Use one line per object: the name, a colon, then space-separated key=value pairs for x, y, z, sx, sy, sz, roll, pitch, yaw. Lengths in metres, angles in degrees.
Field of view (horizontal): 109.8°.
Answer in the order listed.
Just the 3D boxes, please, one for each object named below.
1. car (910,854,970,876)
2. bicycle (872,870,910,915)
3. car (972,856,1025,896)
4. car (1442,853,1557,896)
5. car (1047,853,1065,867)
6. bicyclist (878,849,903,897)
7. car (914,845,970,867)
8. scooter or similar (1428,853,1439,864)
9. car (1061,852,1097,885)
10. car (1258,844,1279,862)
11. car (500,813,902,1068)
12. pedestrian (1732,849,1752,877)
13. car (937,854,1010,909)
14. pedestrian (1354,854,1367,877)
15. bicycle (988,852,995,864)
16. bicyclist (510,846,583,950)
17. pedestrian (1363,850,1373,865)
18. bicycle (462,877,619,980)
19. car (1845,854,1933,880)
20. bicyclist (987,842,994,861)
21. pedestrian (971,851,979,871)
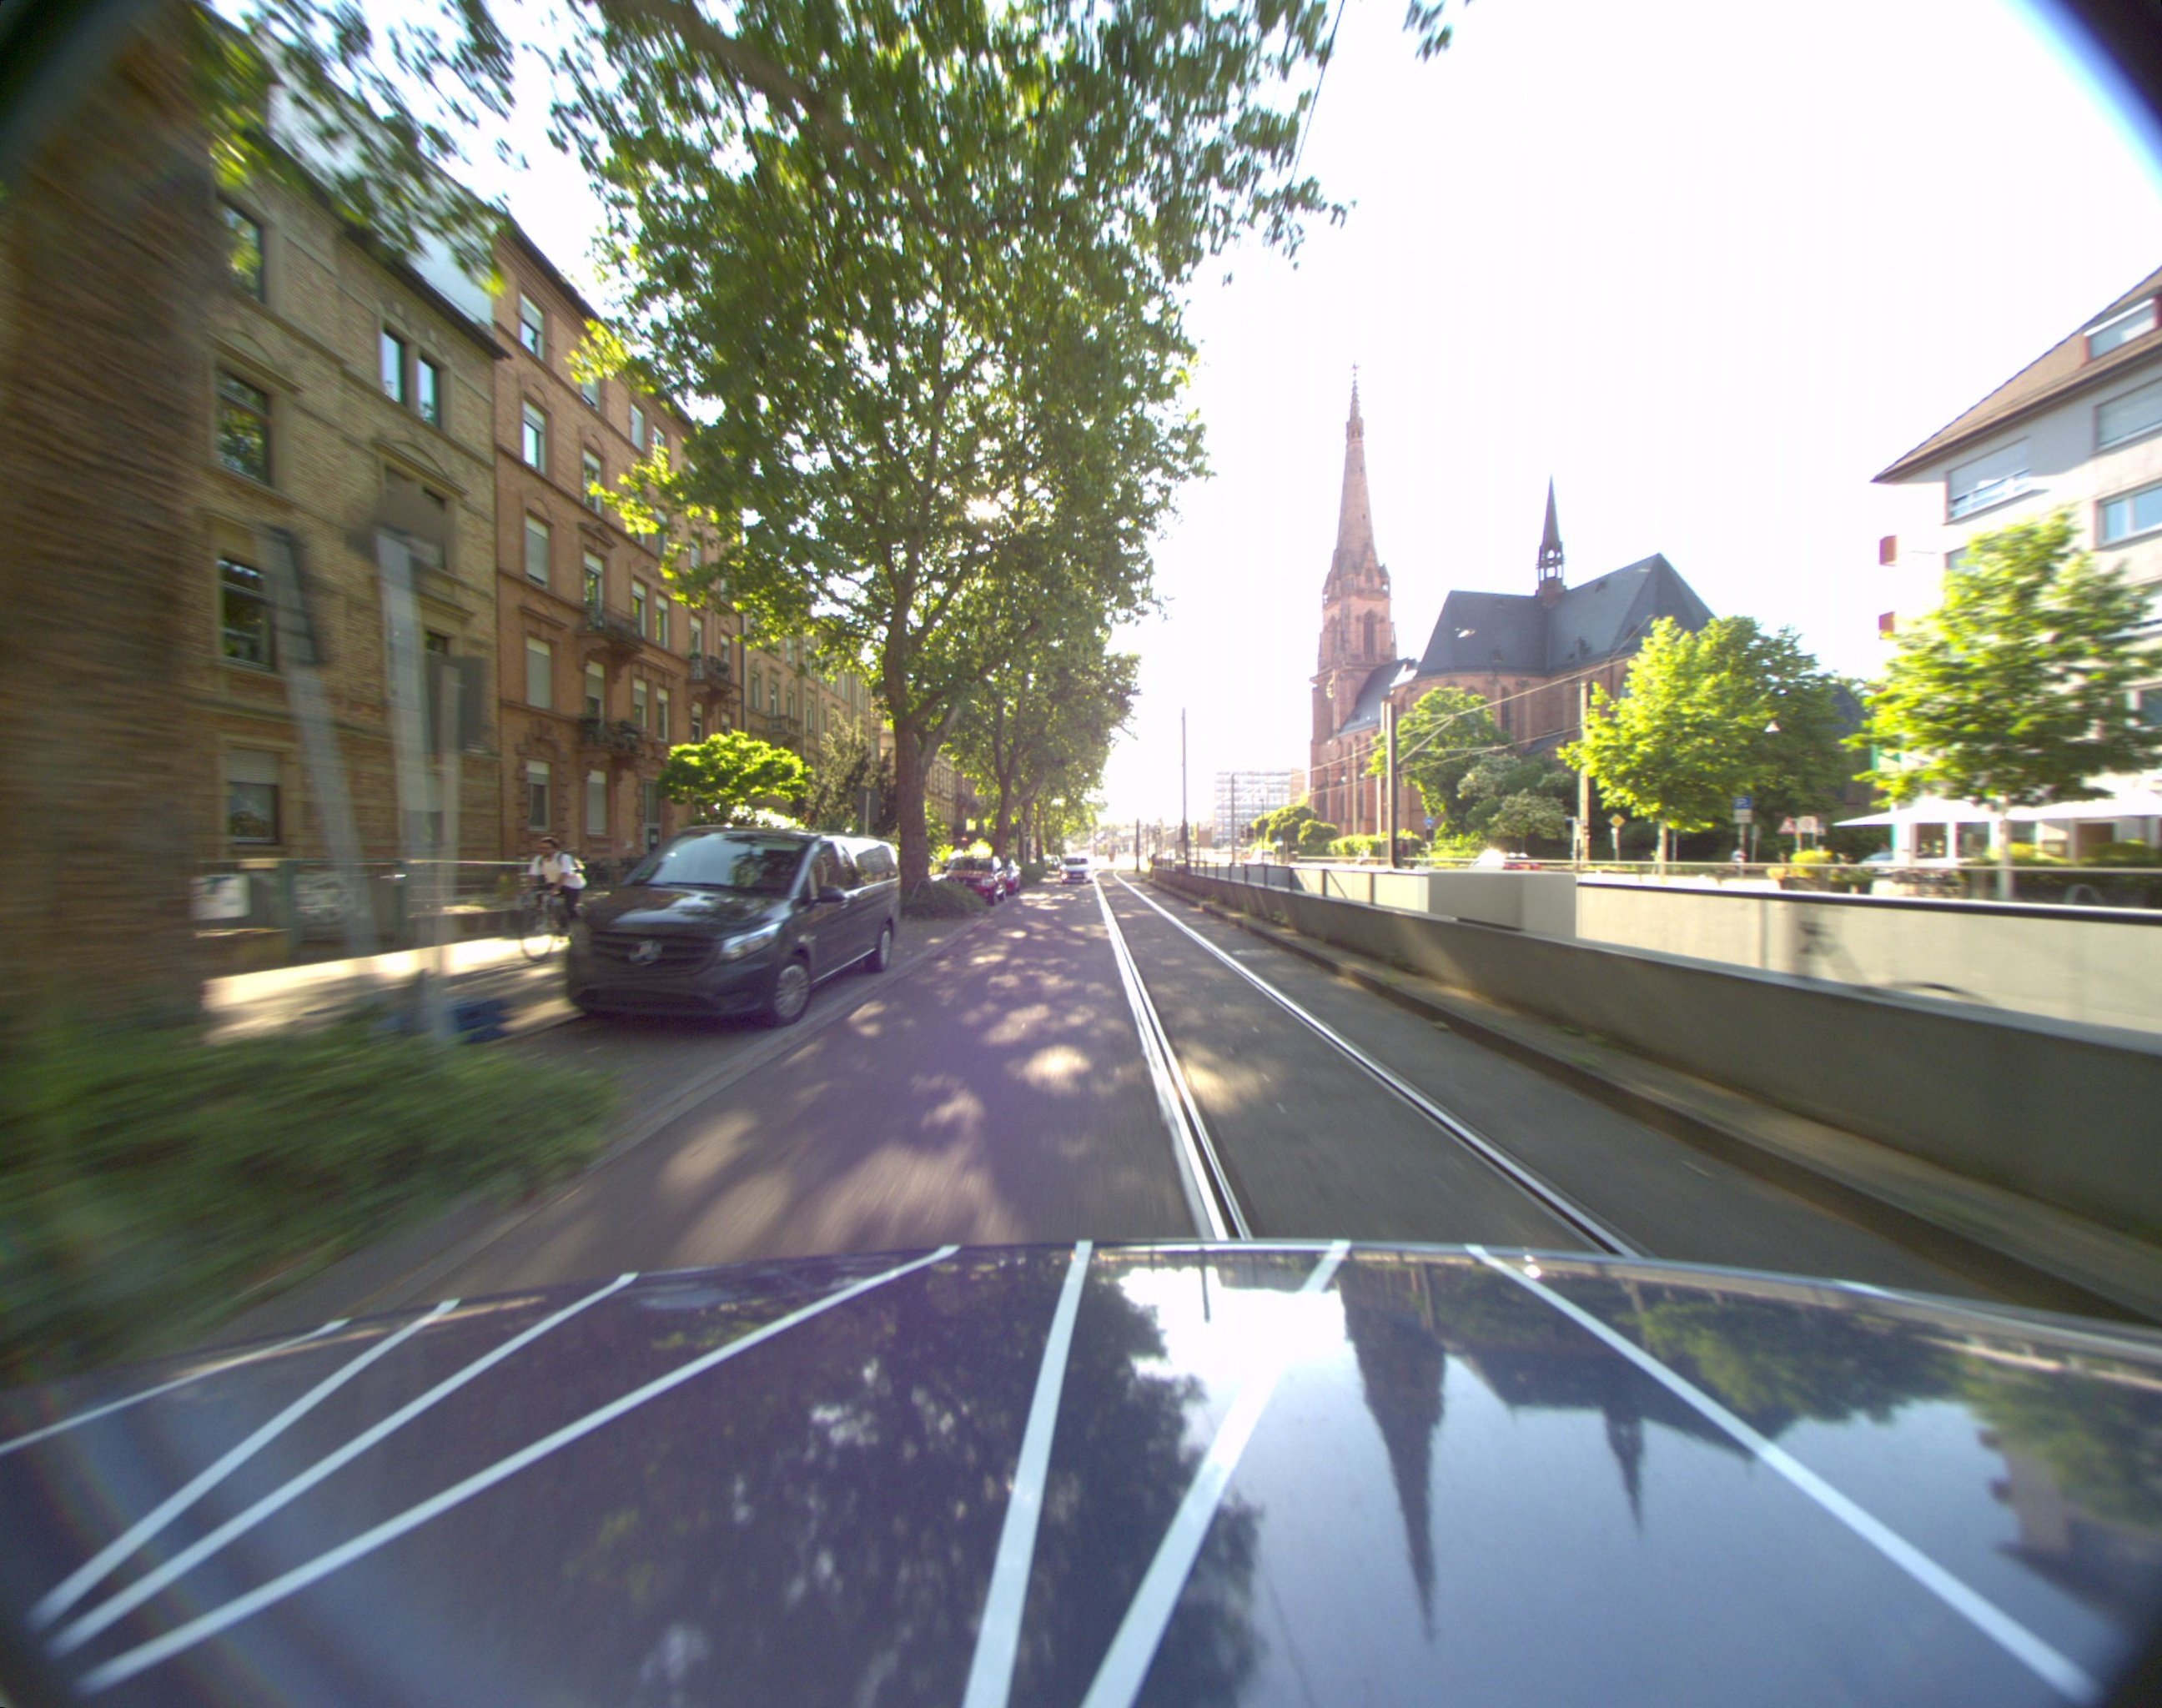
car: x=-11.670 y=0.876 z=63.151 sx=4.559 sy=1.530 sz=1.907 roll=-3 pitch=1 yaw=-1
bicycle: x=-5.576 y=1.098 z=22.391 sx=0.562 sy=1.171 sz=2.225 roll=1 pitch=1 yaw=0
car: x=-3.299 y=0.835 z=30.998 sx=1.719 sy=1.454 sz=3.999 roll=0 pitch=1 yaw=0
car: x=16.424 y=0.747 z=30.102 sx=1.976 sy=1.495 sz=4.407 roll=-3 pitch=0 yaw=-2
car: x=-2.807 y=0.665 z=86.573 sx=1.680 sy=1.507 sz=4.723 roll=1 pitch=0 yaw=2
bicyclist: x=-5.598 y=0.547 z=22.370 sx=0.571 sy=1.372 sz=0.644 roll=0 pitch=1 yaw=0
car: x=-12.429 y=0.181 z=68.146 sx=4.559 sy=1.835 sz=1.907 roll=-1 pitch=1 yaw=0
scooter or similar: x=31.683 y=0.410 z=68.302 sx=0.309 sy=0.930 sz=0.919 roll=-3 pitch=0 yaw=-21
car: x=-0.070 y=0.774 z=41.309 sx=1.823 sy=1.728 sz=4.001 roll=0 pitch=-1 yaw=2
car: x=23.129 y=-0.141 z=93.840 sx=1.997 sy=2.002 sz=5.015 roll=2 pitch=1 yaw=9
car: x=-3.606 y=0.697 z=8.595 sx=1.999 sy=2.002 sz=5.201 roll=0 pitch=0 yaw=-1
pedestrian: x=37.978 y=0.515 z=43.668 sx=0.512 sy=1.645 sz=0.720 roll=0 pitch=1 yaw=-1
car: x=-3.424 y=0.823 z=25.000 sx=1.718 sy=1.540 sz=4.500 roll=1 pitch=1 yaw=1
pedestrian: x=20.527 y=0.812 z=55.720 sx=0.494 sy=1.663 sz=0.754 roll=-3 pitch=1 yaw=-14
bicycle: x=-7.772 y=0.359 z=66.209 sx=0.562 sy=1.031 sz=1.932 roll=-2 pitch=-1 yaw=-7
bicyclist: x=-7.277 y=0.581 z=10.369 sx=0.544 sy=1.372 sz=0.644 roll=0 pitch=0 yaw=-1
pedestrian: x=28.969 y=0.311 z=76.677 sx=0.587 sy=1.480 sz=0.946 roll=-3 pitch=1 yaw=-3
bicycle: x=-7.285 y=0.946 z=10.402 sx=0.562 sy=1.171 sz=2.225 roll=0 pitch=1 yaw=-1
car: x=46.811 y=0.741 z=44.061 sx=3.675 sy=1.412 sz=1.698 roll=-2 pitch=0 yaw=-9
bicyclist: x=-7.823 y=-0.184 z=65.876 sx=0.544 sy=1.616 sz=0.644 roll=1 pitch=0 yaw=-5
pedestrian: x=-8.425 y=0.560 z=60.388 sx=0.540 sy=1.540 sz=0.607 roll=0 pitch=-2 yaw=-1
